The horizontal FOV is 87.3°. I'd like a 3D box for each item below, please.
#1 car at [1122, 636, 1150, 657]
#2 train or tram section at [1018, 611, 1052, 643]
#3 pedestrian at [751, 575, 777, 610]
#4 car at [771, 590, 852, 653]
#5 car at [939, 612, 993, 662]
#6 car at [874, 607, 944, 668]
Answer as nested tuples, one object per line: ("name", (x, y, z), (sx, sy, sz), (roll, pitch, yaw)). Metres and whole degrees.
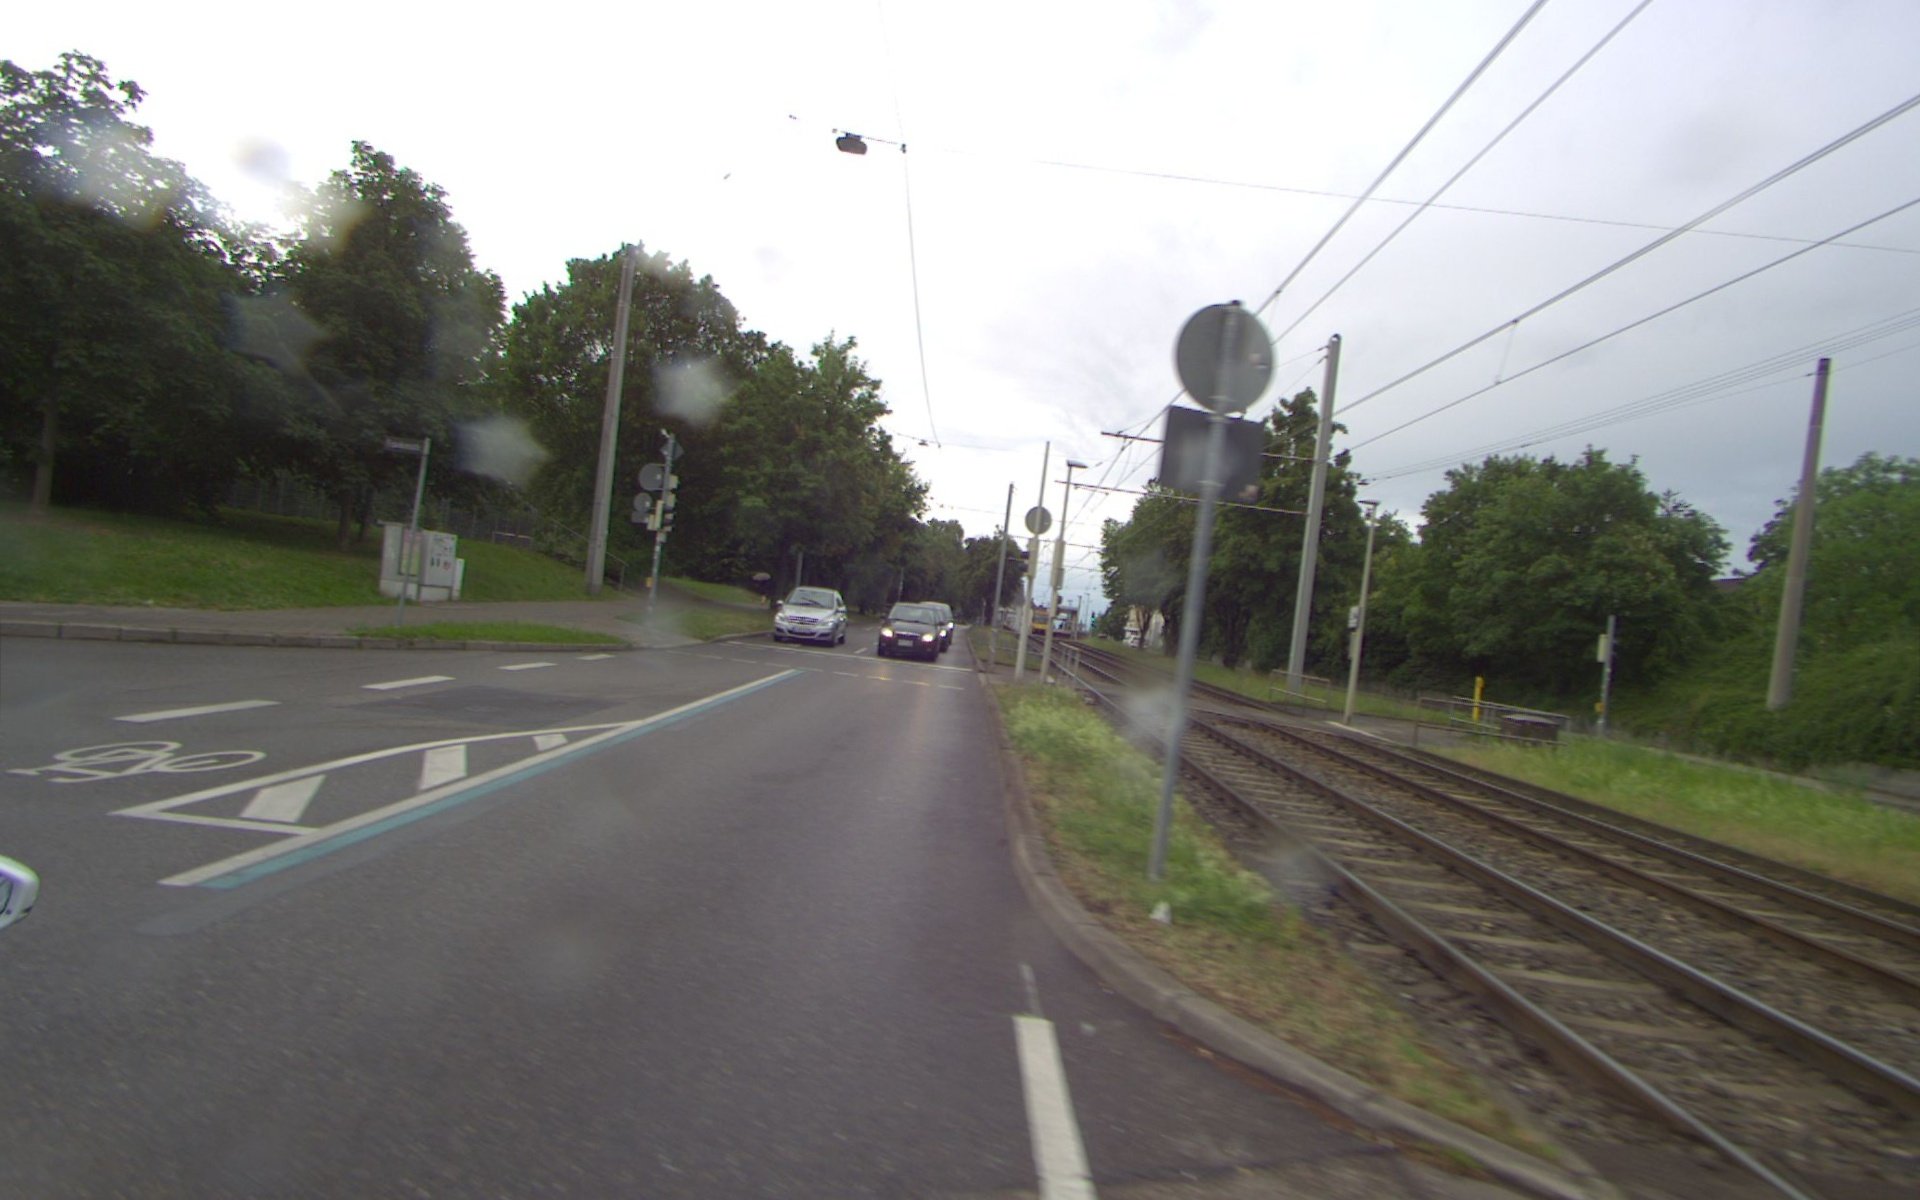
("car", (16.014, 4.203, 91.570), (1.678, 1.539, 3.791), (9, 0, 0))
("train or tram section", (11.056, 4.008, 149.518), (3.999, 3.938, 15.048), (9, -1, 2))
("pedestrian", (-10.071, -0.374, 51.655), (0.998, 1.620, 1.039), (8, 0, -4))
("car", (-4.300, 0.606, 29.578), (1.693, 1.573, 3.862), (6, 0, 0))
("car", (0.230, 1.231, 34.535), (1.576, 1.418, 3.792), (8, -1, 1))
("car", (-1.352, 0.995, 27.936), (1.576, 1.419, 3.792), (6, -1, 1))
